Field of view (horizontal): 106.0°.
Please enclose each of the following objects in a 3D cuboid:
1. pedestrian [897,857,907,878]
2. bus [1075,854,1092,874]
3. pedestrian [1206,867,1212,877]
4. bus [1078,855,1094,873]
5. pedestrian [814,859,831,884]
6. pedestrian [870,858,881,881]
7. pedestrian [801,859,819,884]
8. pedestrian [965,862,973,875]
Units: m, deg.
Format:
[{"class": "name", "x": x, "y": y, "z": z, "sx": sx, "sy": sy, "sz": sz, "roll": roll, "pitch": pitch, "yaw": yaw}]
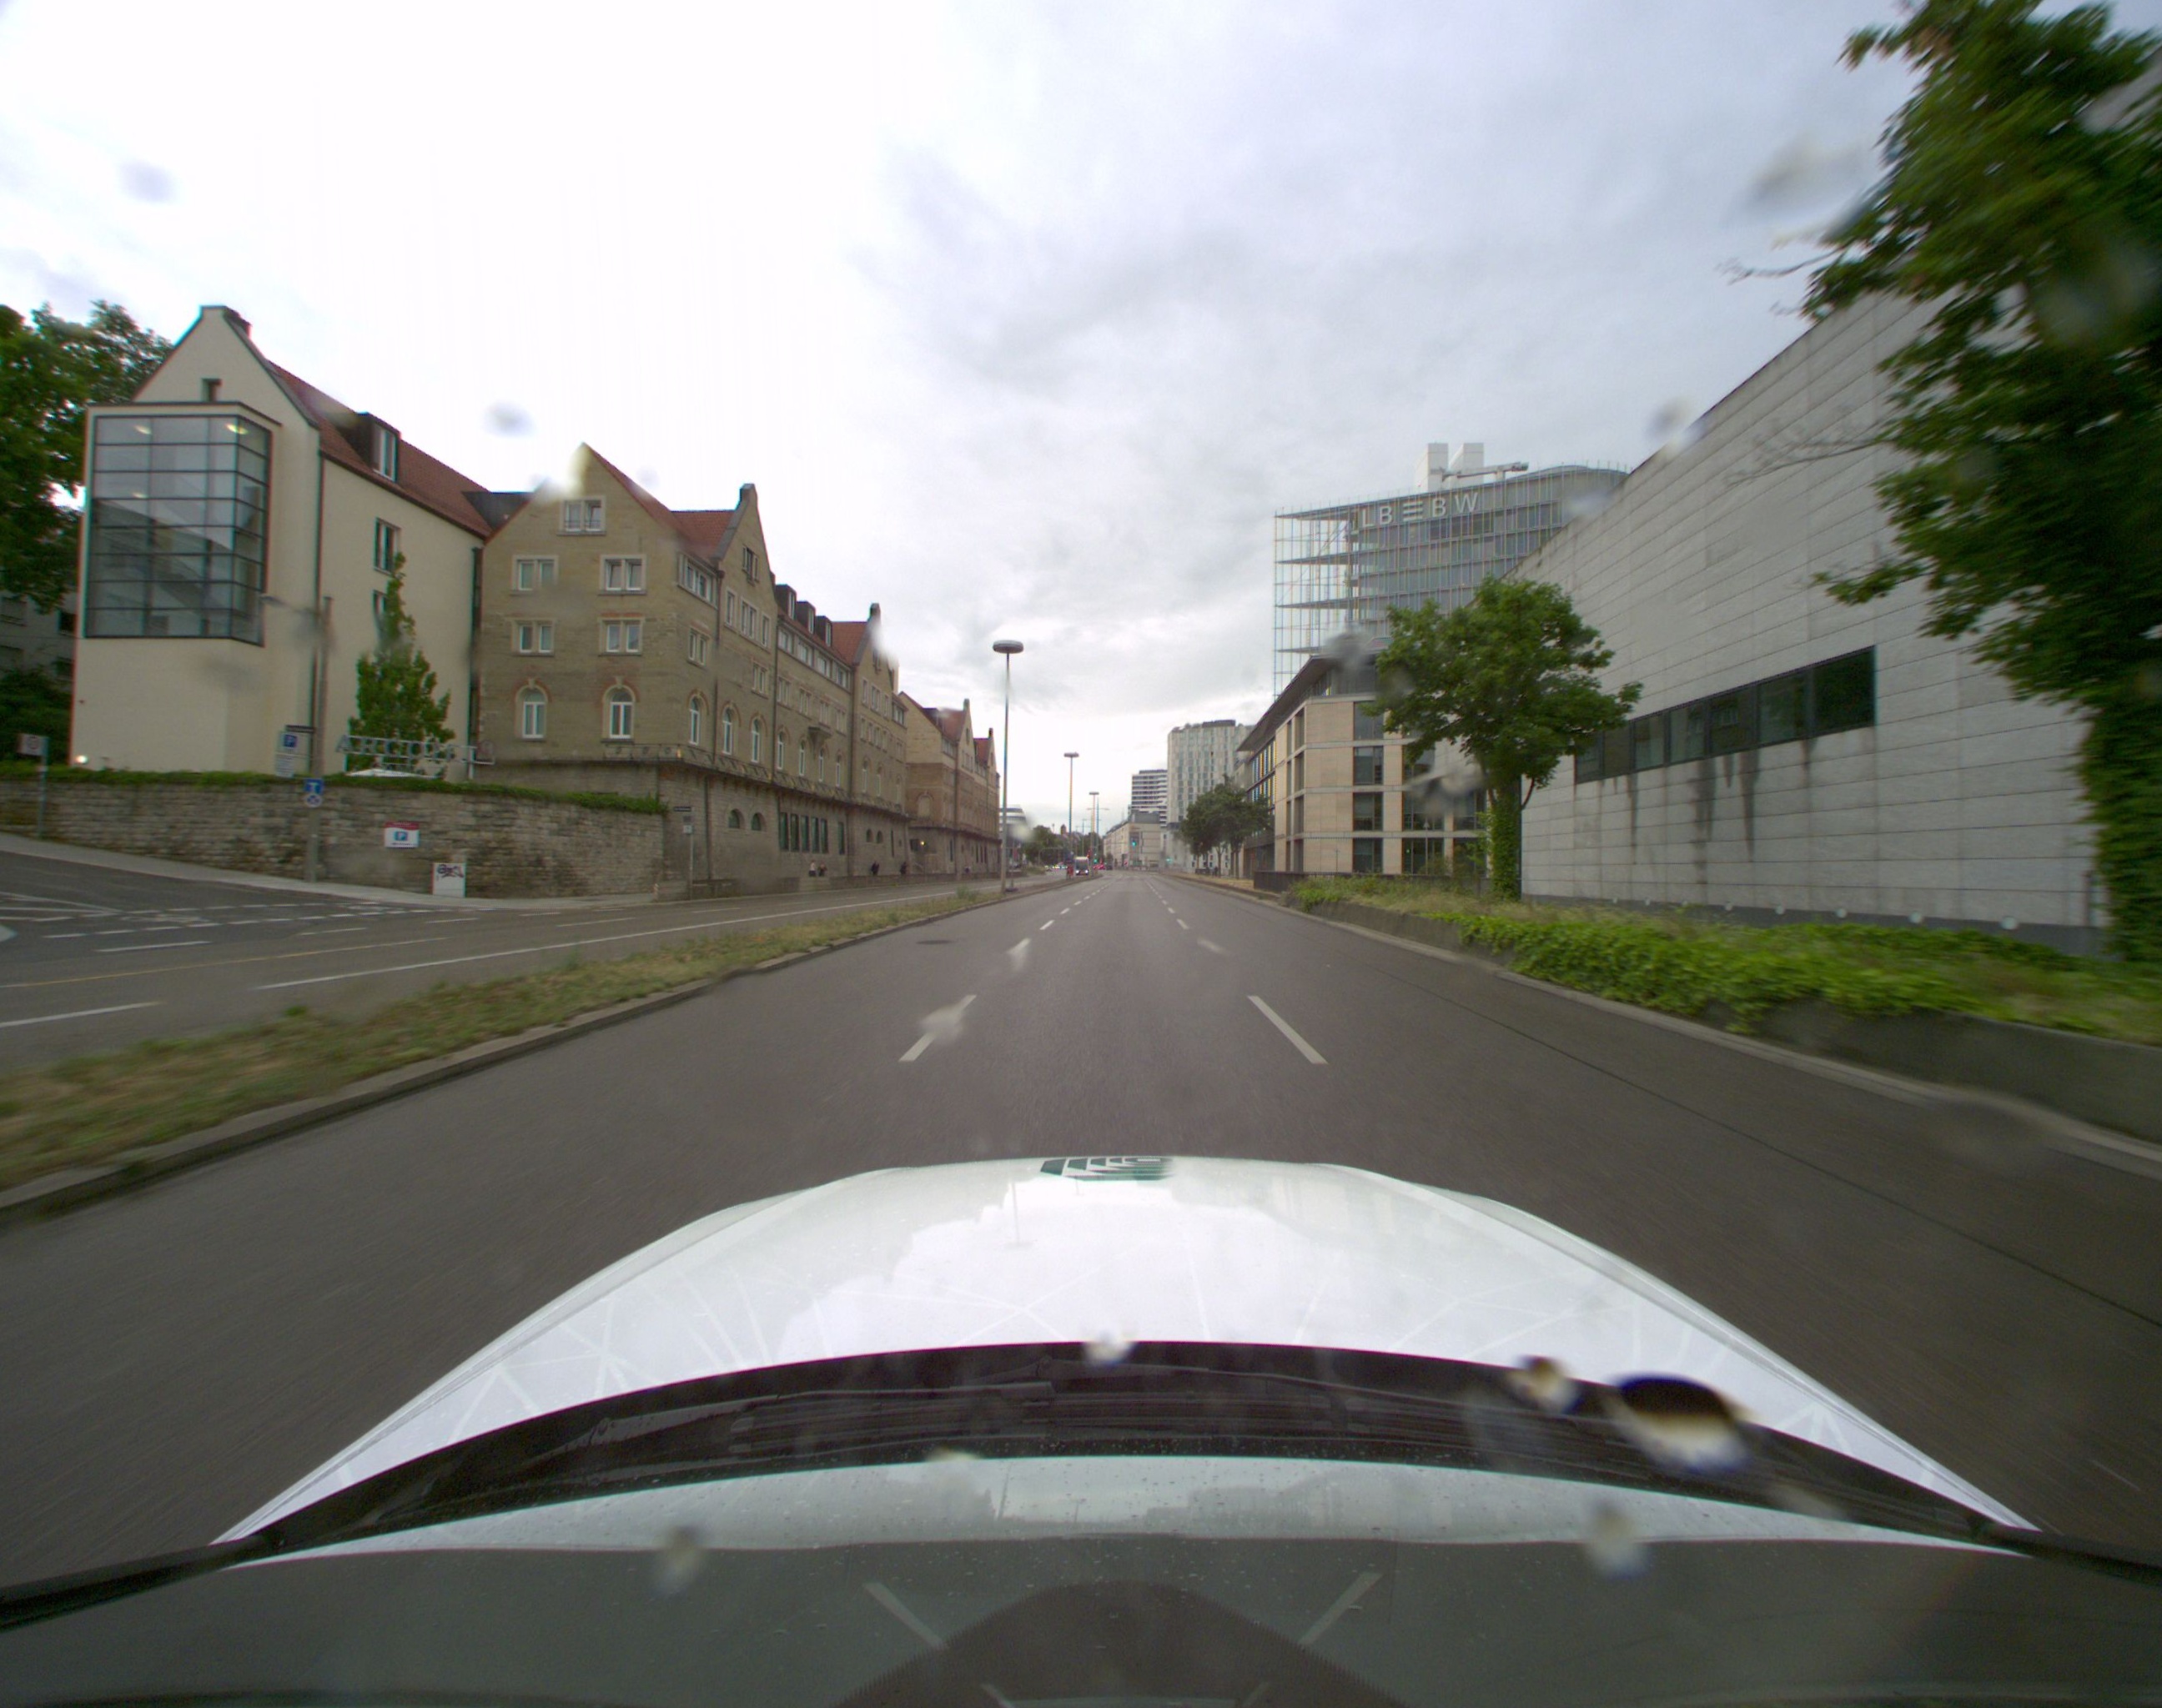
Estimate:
[{"class": "pedestrian", "x": -15.149, "y": 1.171, "z": 68.938, "sx": 0.638, "sy": 1.746, "sz": 0.621, "roll": -1, "pitch": 0, "yaw": 1}, {"class": "bus", "x": 0.588, "y": 1.940, "z": 156.423, "sx": 2.687, "sy": 3.559, "sz": 10.101, "roll": -1, "pitch": -1, "yaw": 3}, {"class": "pedestrian", "x": 20.339, "y": 2.788, "z": 129.327, "sx": 0.544, "sy": 1.578, "sz": 0.675, "roll": -1, "pitch": 0, "yaw": 38}, {"class": "bus", "x": 1.119, "y": 2.113, "z": 166.782, "sx": 2.687, "sy": 3.559, "sz": 10.101, "roll": -1, "pitch": -1, "yaw": 3}, {"class": "pedestrian", "x": -15.585, "y": 1.044, "z": 49.177, "sx": 0.751, "sy": 1.478, "sz": 0.714, "roll": -1, "pitch": 0, "yaw": 3}, {"class": "pedestrian", "x": -15.842, "y": 1.221, "z": 62.868, "sx": 0.638, "sy": 1.746, "sz": 0.621, "roll": -1, "pitch": 0, "yaw": 1}, {"class": "pedestrian", "x": -16.372, "y": 1.053, "z": 49.199, "sx": 0.751, "sy": 1.478, "sz": 0.714, "roll": -1, "pitch": 0, "yaw": 3}, {"class": "pedestrian", "x": -13.386, "y": 1.696, "z": 97.233, "sx": 0.751, "sy": 1.478, "sz": 0.714, "roll": -1, "pitch": 0, "yaw": 3}]
